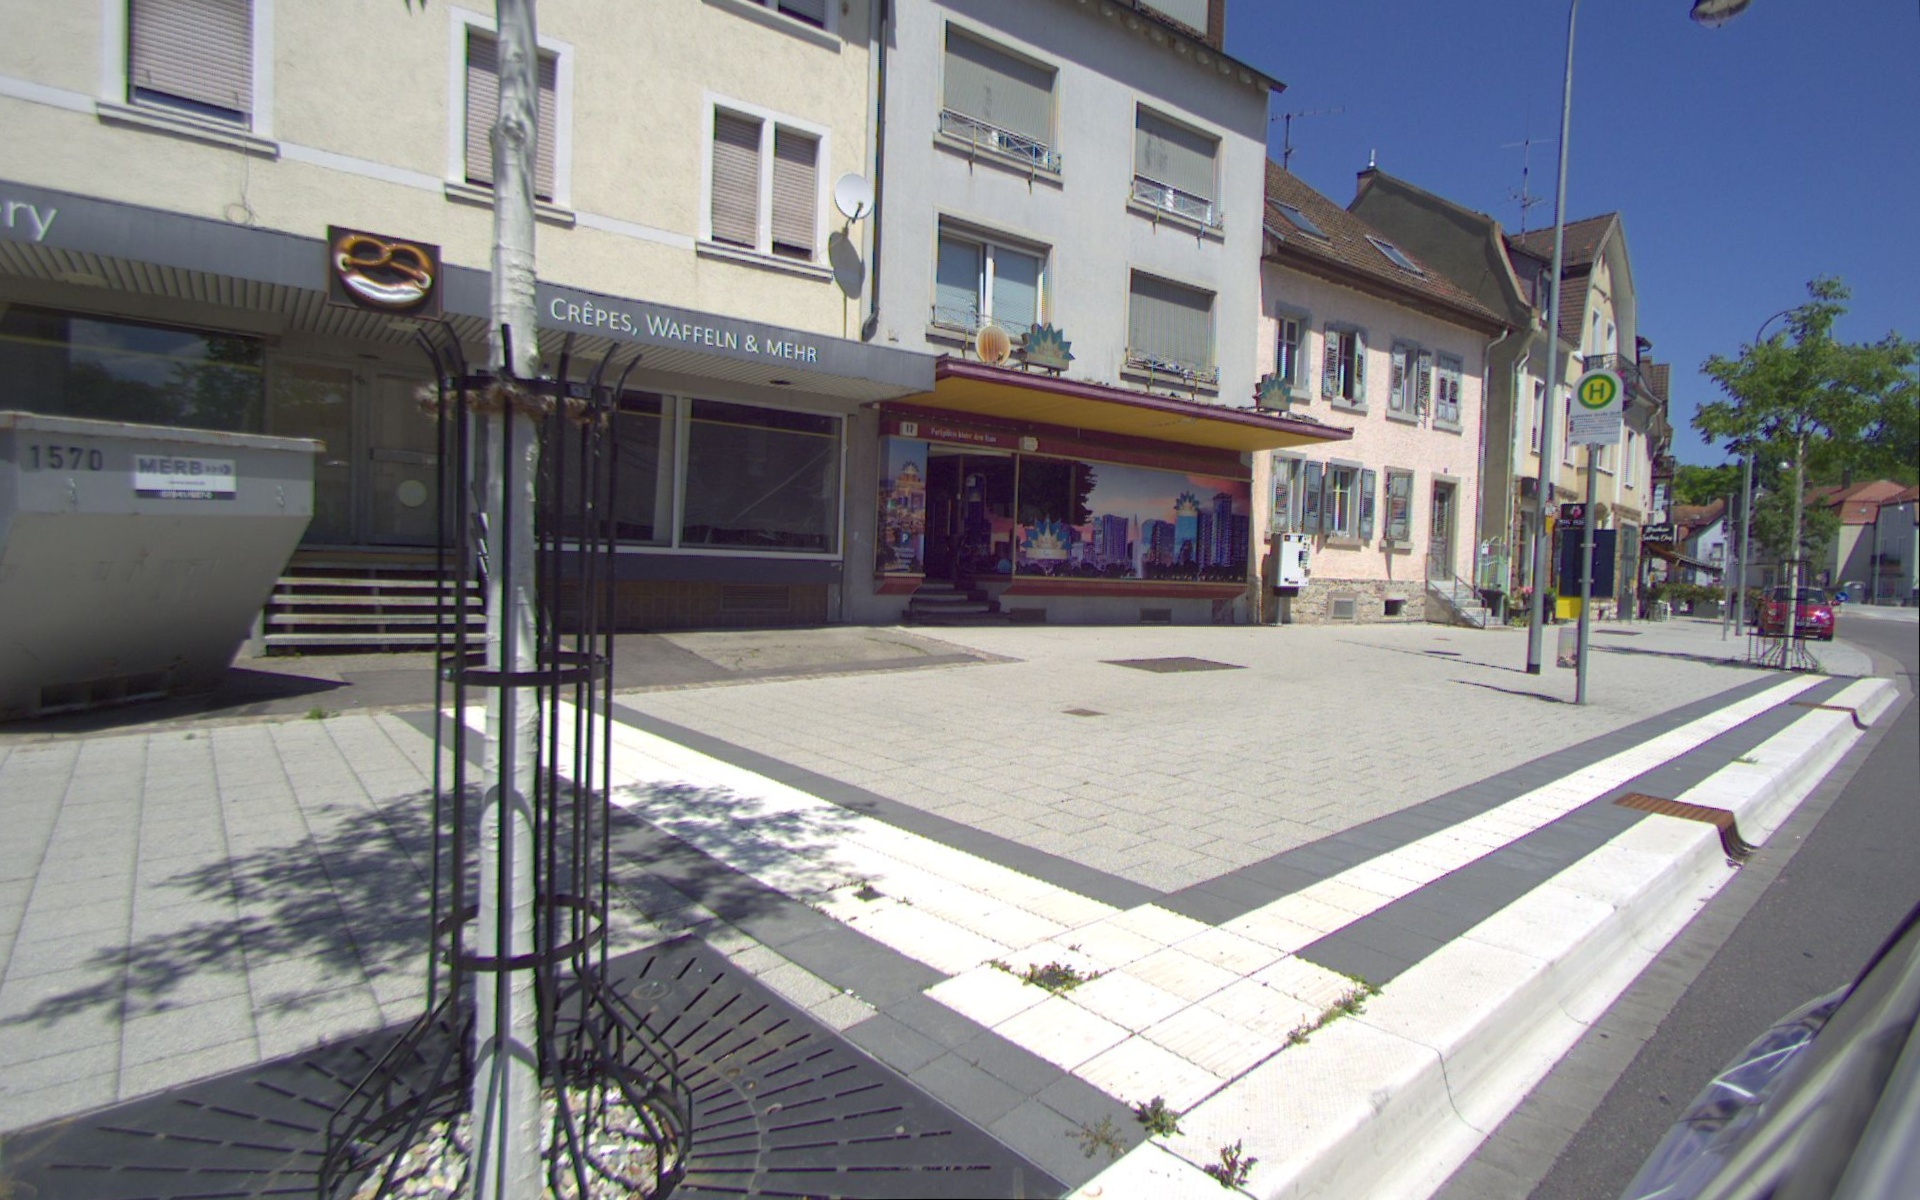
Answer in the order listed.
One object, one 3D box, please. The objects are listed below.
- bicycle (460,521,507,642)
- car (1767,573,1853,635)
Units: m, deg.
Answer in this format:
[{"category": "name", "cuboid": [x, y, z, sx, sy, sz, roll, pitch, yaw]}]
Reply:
[{"category": "bicycle", "cuboid": [-5.042, -0.194, 10.679, 0.406, 1.198, 1.276, 0, 1, -27]}, {"category": "car", "cuboid": [24.348, 0.074, 28.992, 1.679, 1.532, 3.336, 8, 5, 41]}]
